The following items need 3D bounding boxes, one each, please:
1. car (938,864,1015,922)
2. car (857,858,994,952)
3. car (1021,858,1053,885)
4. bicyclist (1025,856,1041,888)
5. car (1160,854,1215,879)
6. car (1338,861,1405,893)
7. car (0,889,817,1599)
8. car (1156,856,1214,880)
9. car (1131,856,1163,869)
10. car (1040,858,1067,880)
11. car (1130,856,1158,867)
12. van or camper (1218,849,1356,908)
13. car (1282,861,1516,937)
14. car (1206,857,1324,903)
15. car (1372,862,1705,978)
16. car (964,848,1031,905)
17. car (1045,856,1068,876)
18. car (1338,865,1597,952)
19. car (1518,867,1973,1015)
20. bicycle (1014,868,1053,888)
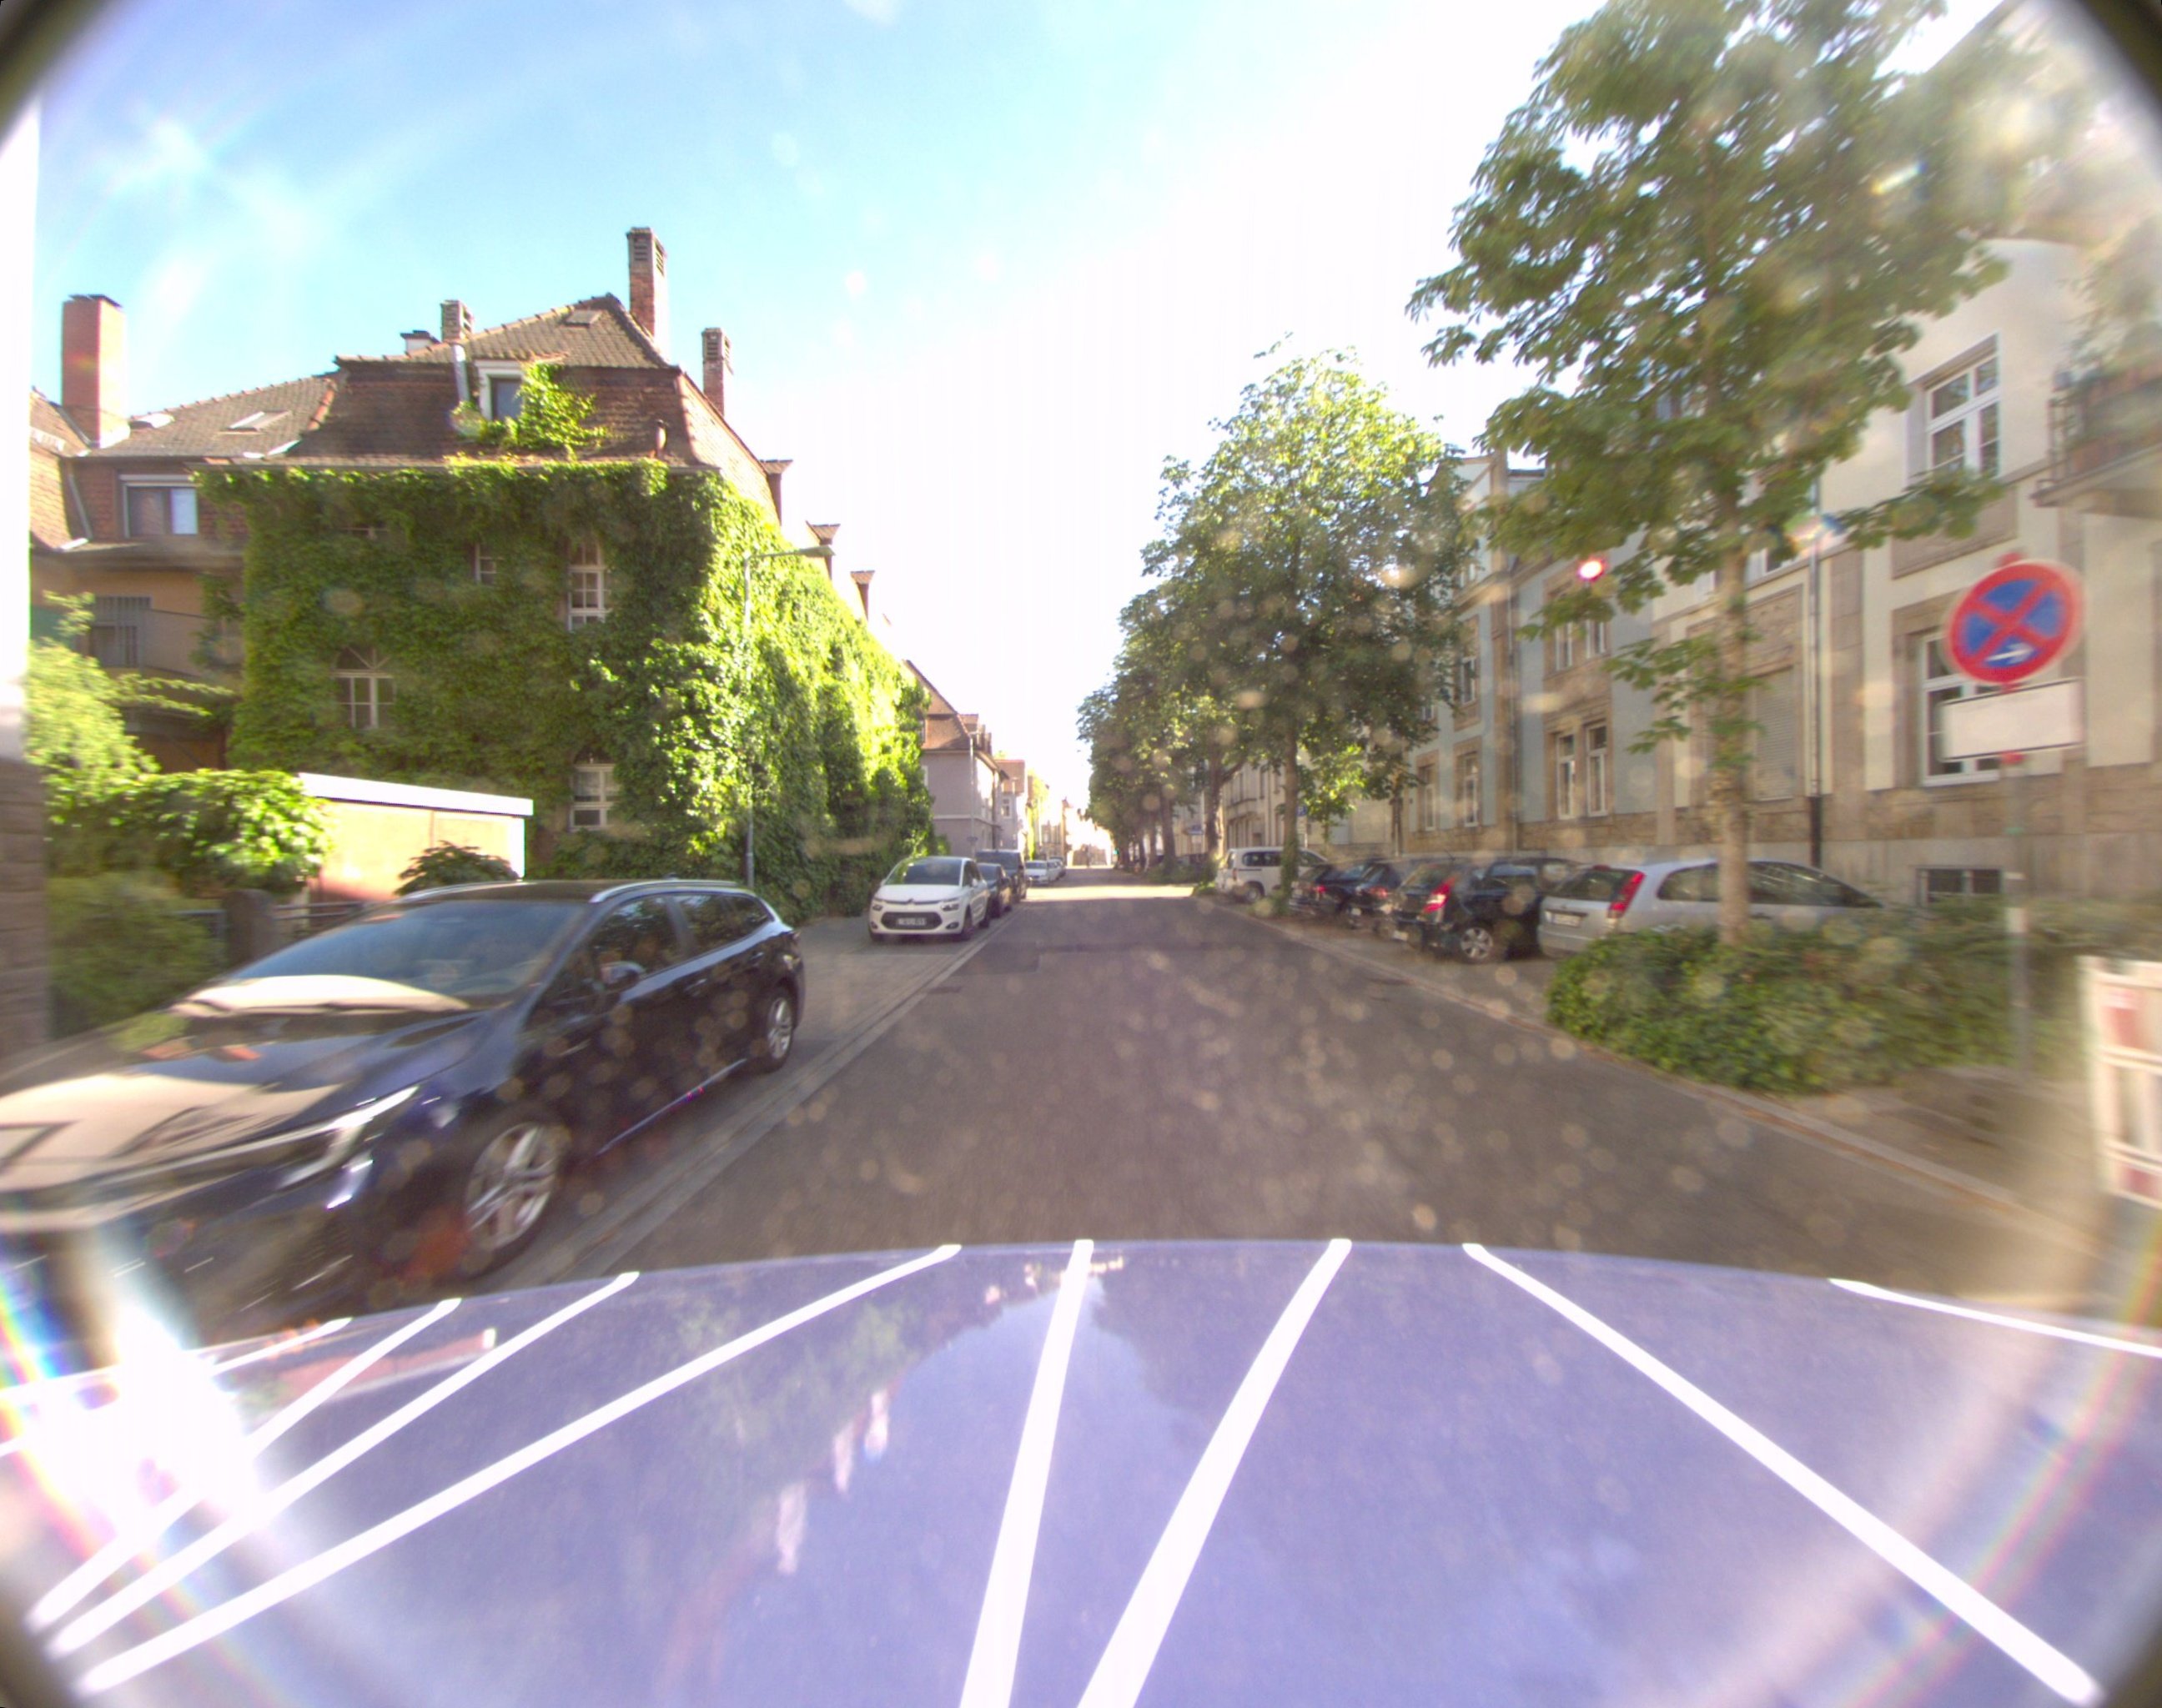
[{"bbox_3d":[-2.864,1.034,21.600,1.641,1.413,4.008,0,0,0],"label":"car"},{"bbox_3d":[-3.002,0.923,15.597,1.872,1.635,4.199,0,0,1],"label":"car"},{"bbox_3d":[-2.722,1.059,47.461,1.814,1.546,4.105,-1,0,-1],"label":"car"},{"bbox_3d":[-2.415,0.896,38.287,0.737,1.562,0.755,-1,0,-1],"label":"bicyclist"},{"bbox_3d":[8.355,0.981,59.354,3.993,1.752,2.002,-3,1,14],"label":"car"},{"bbox_3d":[15.238,1.171,40.091,1.869,1.545,4.418,1,0,1],"label":"car"},{"bbox_3d":[-3.033,1.030,4.018,1.648,1.445,4.502,-1,0,0],"label":"car"},{"bbox_3d":[7.476,0.987,54.660,3.995,1.424,1.804,-3,1,8],"label":"car"},{"bbox_3d":[7.435,0.975,85.543,3.496,1.420,1.542,0,0,0],"label":"car"},{"bbox_3d":[-2.093,1.137,58.958,1.822,1.529,4.161,-3,0,1],"label":"car"},{"bbox_3d":[8.144,0.948,98.535,3.496,1.420,1.542,0,0,0],"label":"car"},{"bbox_3d":[6.608,0.784,24.688,3.954,1.762,1.809,-1,-1,0],"label":"van or camper"},{"bbox_3d":[6.536,0.897,15.937,4.150,1.392,1.710,-2,0,0],"label":"car"},{"bbox_3d":[6.501,0.898,27.092,3.734,1.507,1.722,-1,0,-1],"label":"car"},{"bbox_3d":[6.413,0.891,10.981,3.735,1.456,1.715,-2,-1,1],"label":"car"},{"bbox_3d":[-2.971,0.747,28.008,1.857,1.898,4.851,-1,0,0],"label":"car"},{"bbox_3d":[-2.260,1.094,70.428,1.822,1.634,4.161,-3,0,1],"label":"car"},{"bbox_3d":[6.703,0.915,13.474,3.757,1.422,1.646,0,0,1],"label":"car"},{"bbox_3d":[7.139,0.887,8.469,3.558,1.440,1.695,0,0,1],"label":"car"},{"bbox_3d":[-2.395,1.217,38.312,1.920,0.981,0.595,-1,0,0],"label":"bicycle"}]
